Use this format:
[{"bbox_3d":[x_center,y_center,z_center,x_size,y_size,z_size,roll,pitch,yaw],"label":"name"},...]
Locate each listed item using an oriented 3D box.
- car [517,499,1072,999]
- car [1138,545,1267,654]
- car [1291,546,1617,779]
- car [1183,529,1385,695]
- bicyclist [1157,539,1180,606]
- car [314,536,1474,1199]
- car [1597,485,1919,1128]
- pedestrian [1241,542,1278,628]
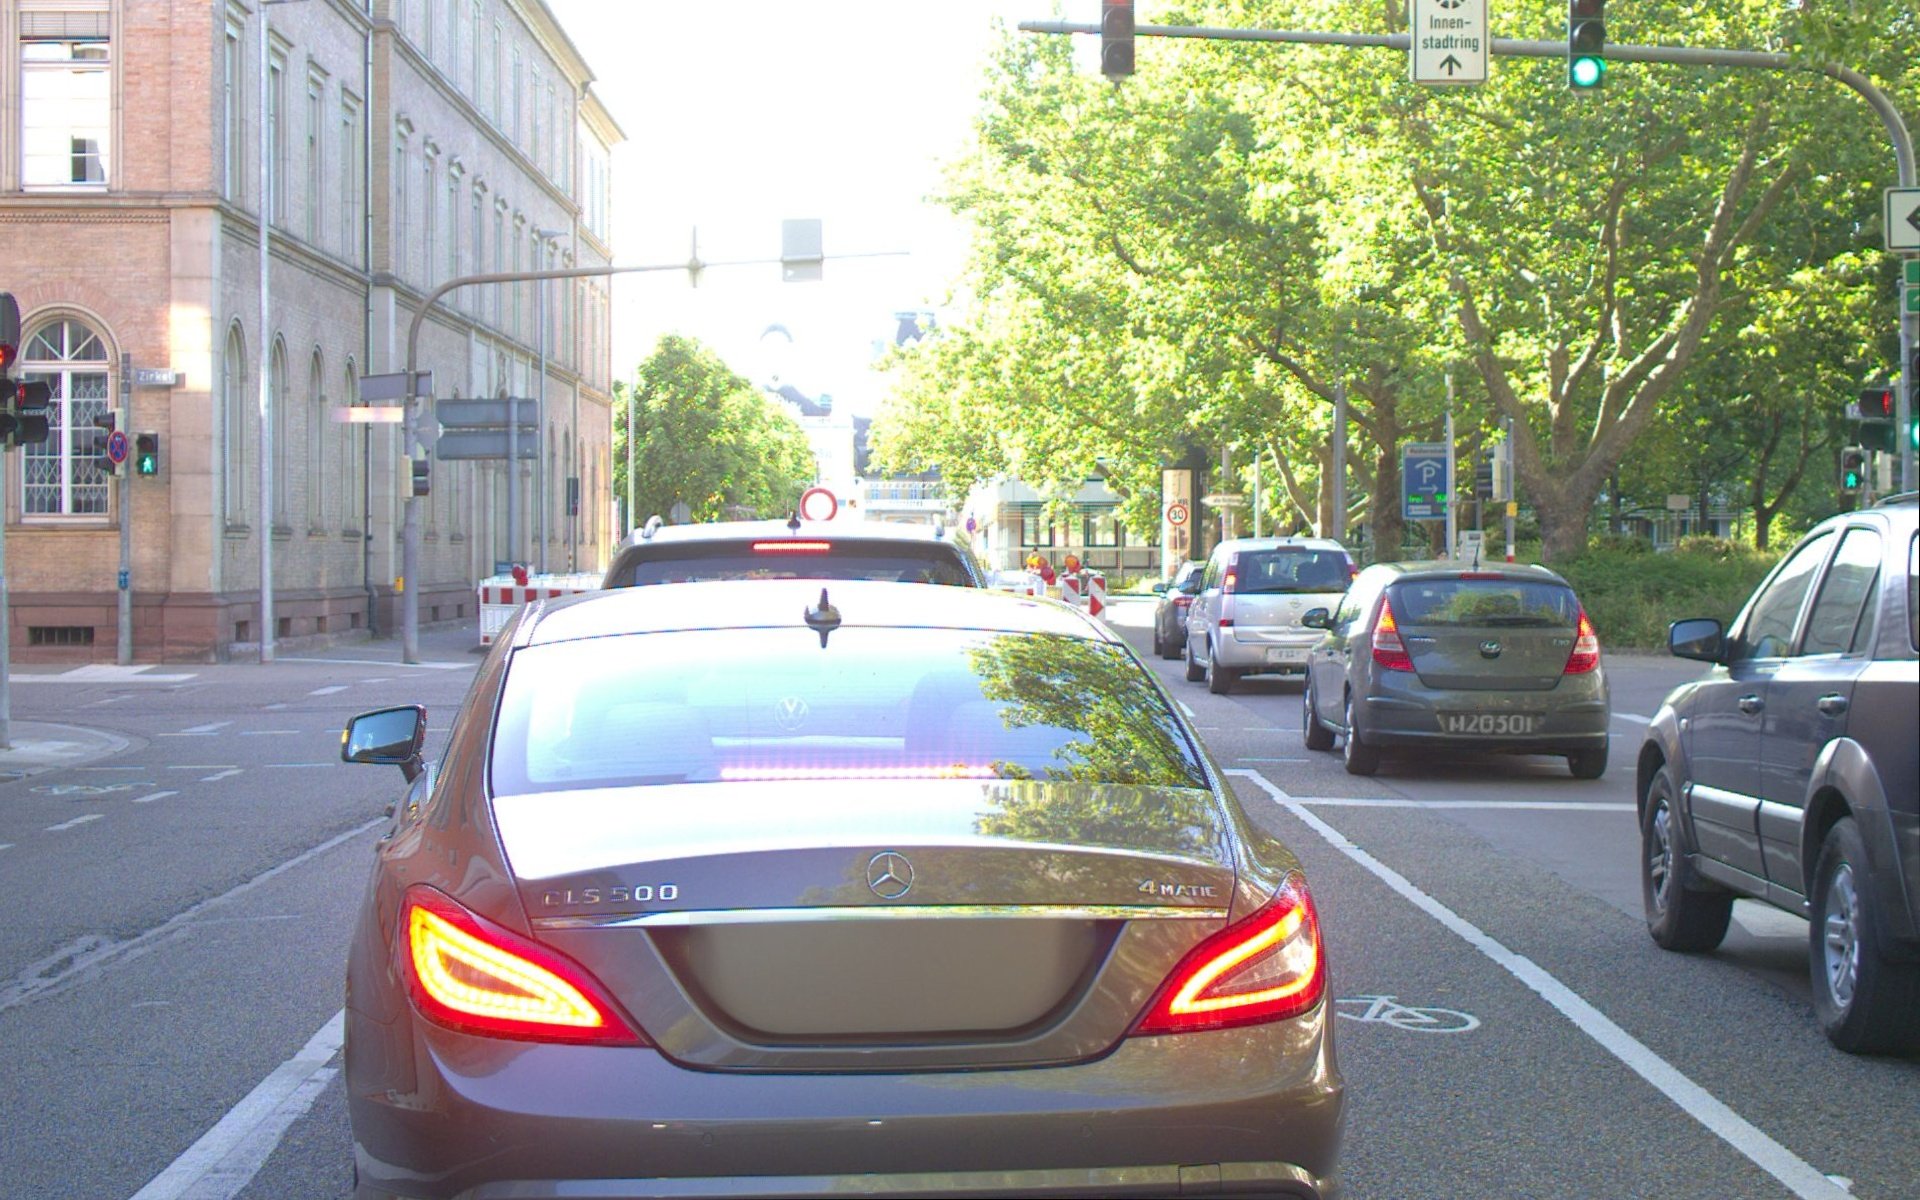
[{"bbox_3d":[-0.583,0.472,13.620,1.861,1.677,4.000,1,1,-1],"label":"car"},{"bbox_3d":[3.580,-0.030,51.309,1.601,1.543,3.681,1,1,-1],"label":"car"},{"bbox_3d":[3.456,0.382,24.700,1.704,1.514,4.000,1,1,-1],"label":"car"},{"bbox_3d":[3.395,0.100,36.582,1.731,1.656,3.681,1,1,-1],"label":"car"},{"bbox_3d":[6.377,-0.850,105.052,0.594,2.032,0.566,1,0,-4],"label":"bicyclist"},{"bbox_3d":[-0.362,0.626,7.490,1.861,1.514,4.001,0,1,-8],"label":"car"},{"bbox_3d":[3.533,0.533,11.630,1.861,1.758,4.482,1,1,-1],"label":"car"},{"bbox_3d":[6.230,-0.315,71.489,0.635,1.754,0.699,1,0,-4],"label":"pedestrian"}]
